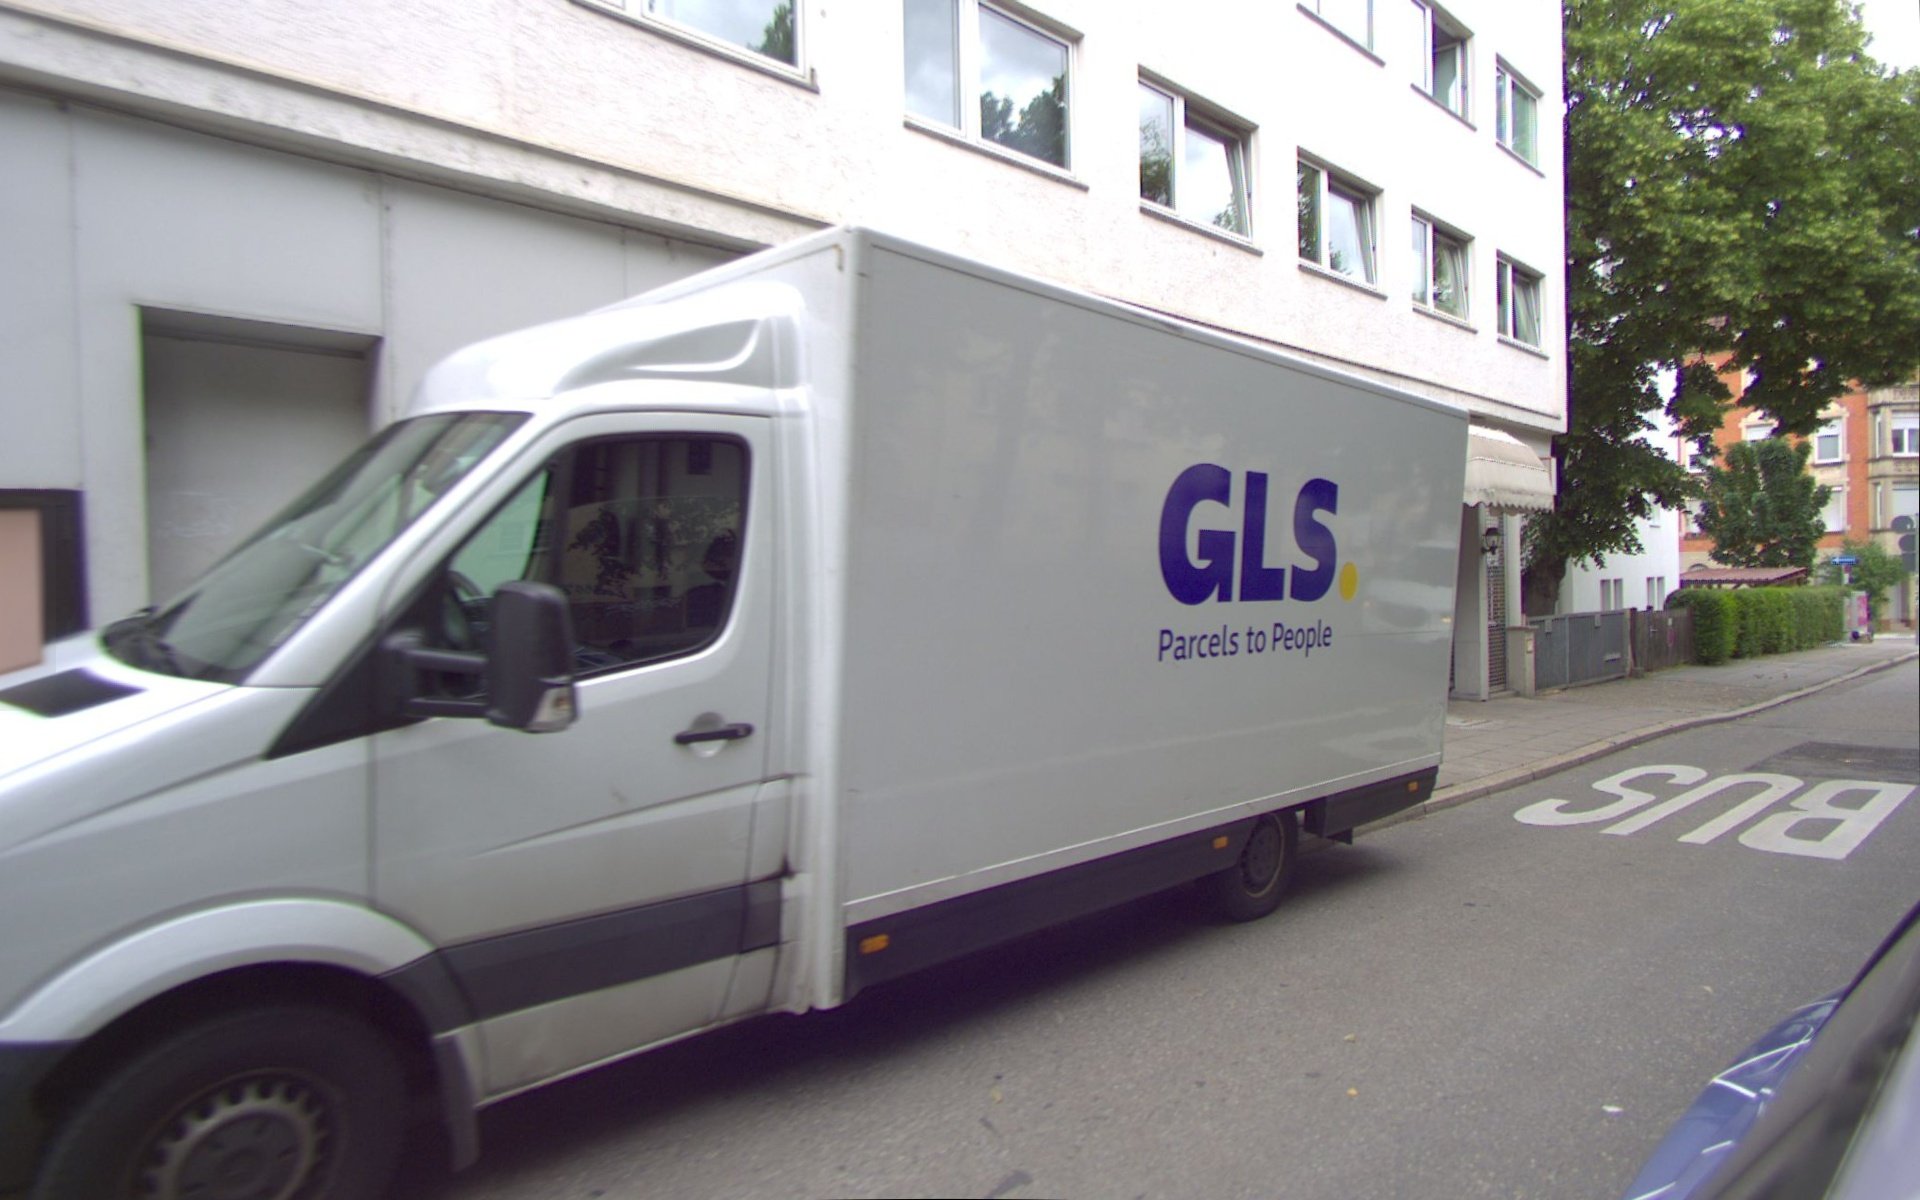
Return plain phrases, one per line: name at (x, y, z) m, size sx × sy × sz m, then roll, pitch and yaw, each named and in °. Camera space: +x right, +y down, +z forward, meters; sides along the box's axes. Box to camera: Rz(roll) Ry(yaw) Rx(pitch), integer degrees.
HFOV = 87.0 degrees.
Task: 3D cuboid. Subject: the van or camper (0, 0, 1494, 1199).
van or camper at (-0.236, 0.012, 4.628) m, size 7.115 × 2.837 × 2.483 m, roll -1°, pitch 2°, yaw -43°
